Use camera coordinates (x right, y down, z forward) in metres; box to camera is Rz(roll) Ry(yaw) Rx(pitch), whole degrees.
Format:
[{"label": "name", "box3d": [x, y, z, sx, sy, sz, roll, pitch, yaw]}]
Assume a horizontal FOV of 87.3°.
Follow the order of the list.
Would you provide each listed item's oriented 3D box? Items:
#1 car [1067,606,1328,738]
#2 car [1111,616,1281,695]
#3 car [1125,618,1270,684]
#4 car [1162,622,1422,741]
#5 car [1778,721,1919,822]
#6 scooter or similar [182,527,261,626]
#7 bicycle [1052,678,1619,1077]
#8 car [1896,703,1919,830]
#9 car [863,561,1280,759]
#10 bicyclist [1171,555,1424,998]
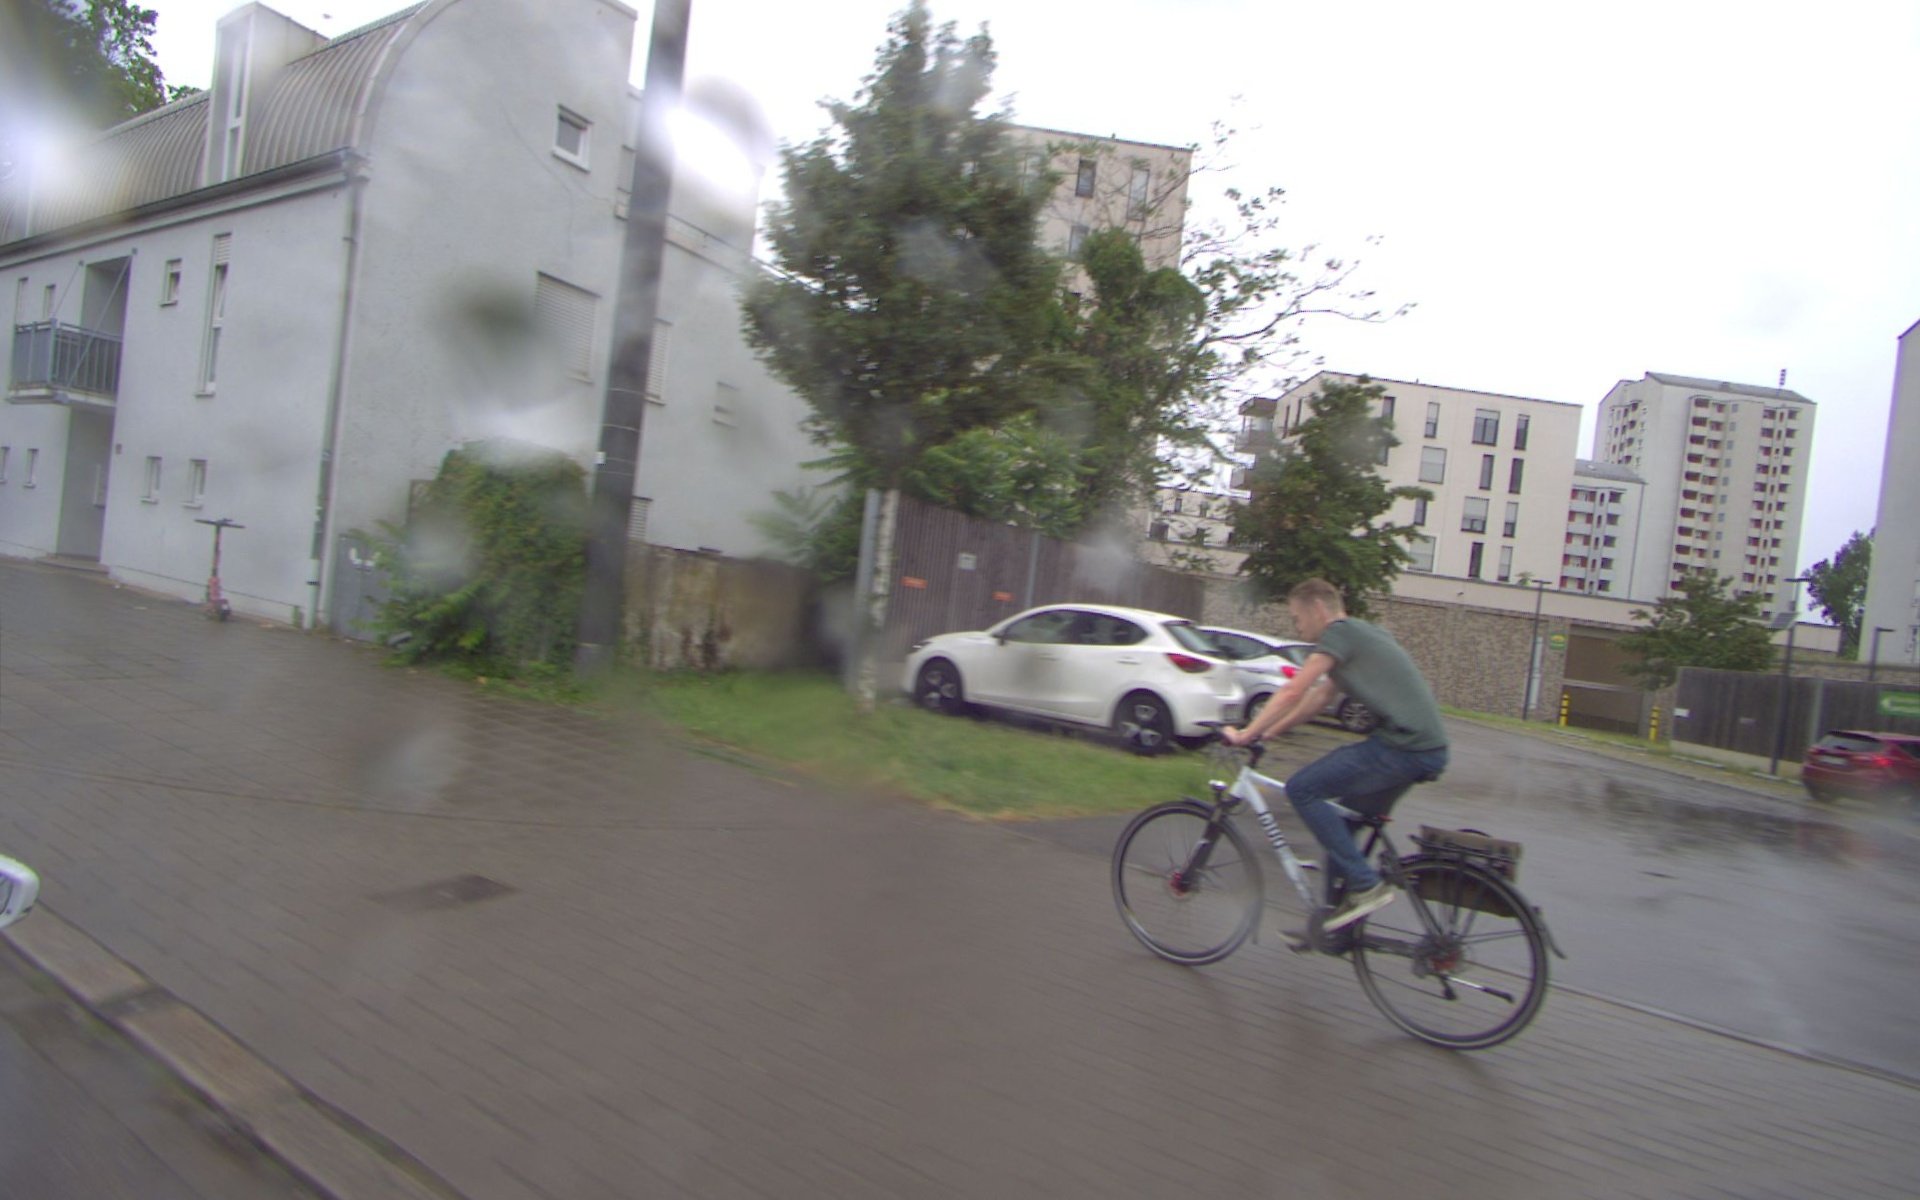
[{"label": "car", "box3d": [3.831, 1.112, 16.180, 3.599, 1.464, 1.969, 8, 0, 26]}, {"label": "car", "box3d": [6.584, 1.534, 28.466, 4.281, 1.553, 1.971, 8, 0, 5]}, {"label": "car", "box3d": [7.935, 1.685, 33.905, 4.283, 1.553, 1.970, 8, 0, 0]}, {"label": "car", "box3d": [6.408, 1.535, 19.543, 4.293, 1.553, 1.965, 8, 0, 34]}, {"label": "car", "box3d": [17.564, 3.236, 18.231, 3.926, 1.459, 1.774, 7, -1, -1]}, {"label": "scooter or similar", "box3d": [-9.150, -0.304, 12.451, 1.375, 1.098, 0.333, 6, -1, 38]}, {"label": "bicycle", "box3d": [1.418, 0.992, 4.056, 1.914, 1.106, 0.538, 6, -1, 25]}, {"label": "car", "box3d": [16.417, 2.751, 13.854, 4.702, 1.892, 1.965, 8, 0, 34]}, {"label": "car", "box3d": [1.228, 0.623, 11.787, 4.293, 1.553, 1.965, 8, 0, 34]}, {"label": "bicyclist", "box3d": [1.381, 0.662, 4.102, 0.758, 1.578, 0.535, 6, 0, 24]}]
